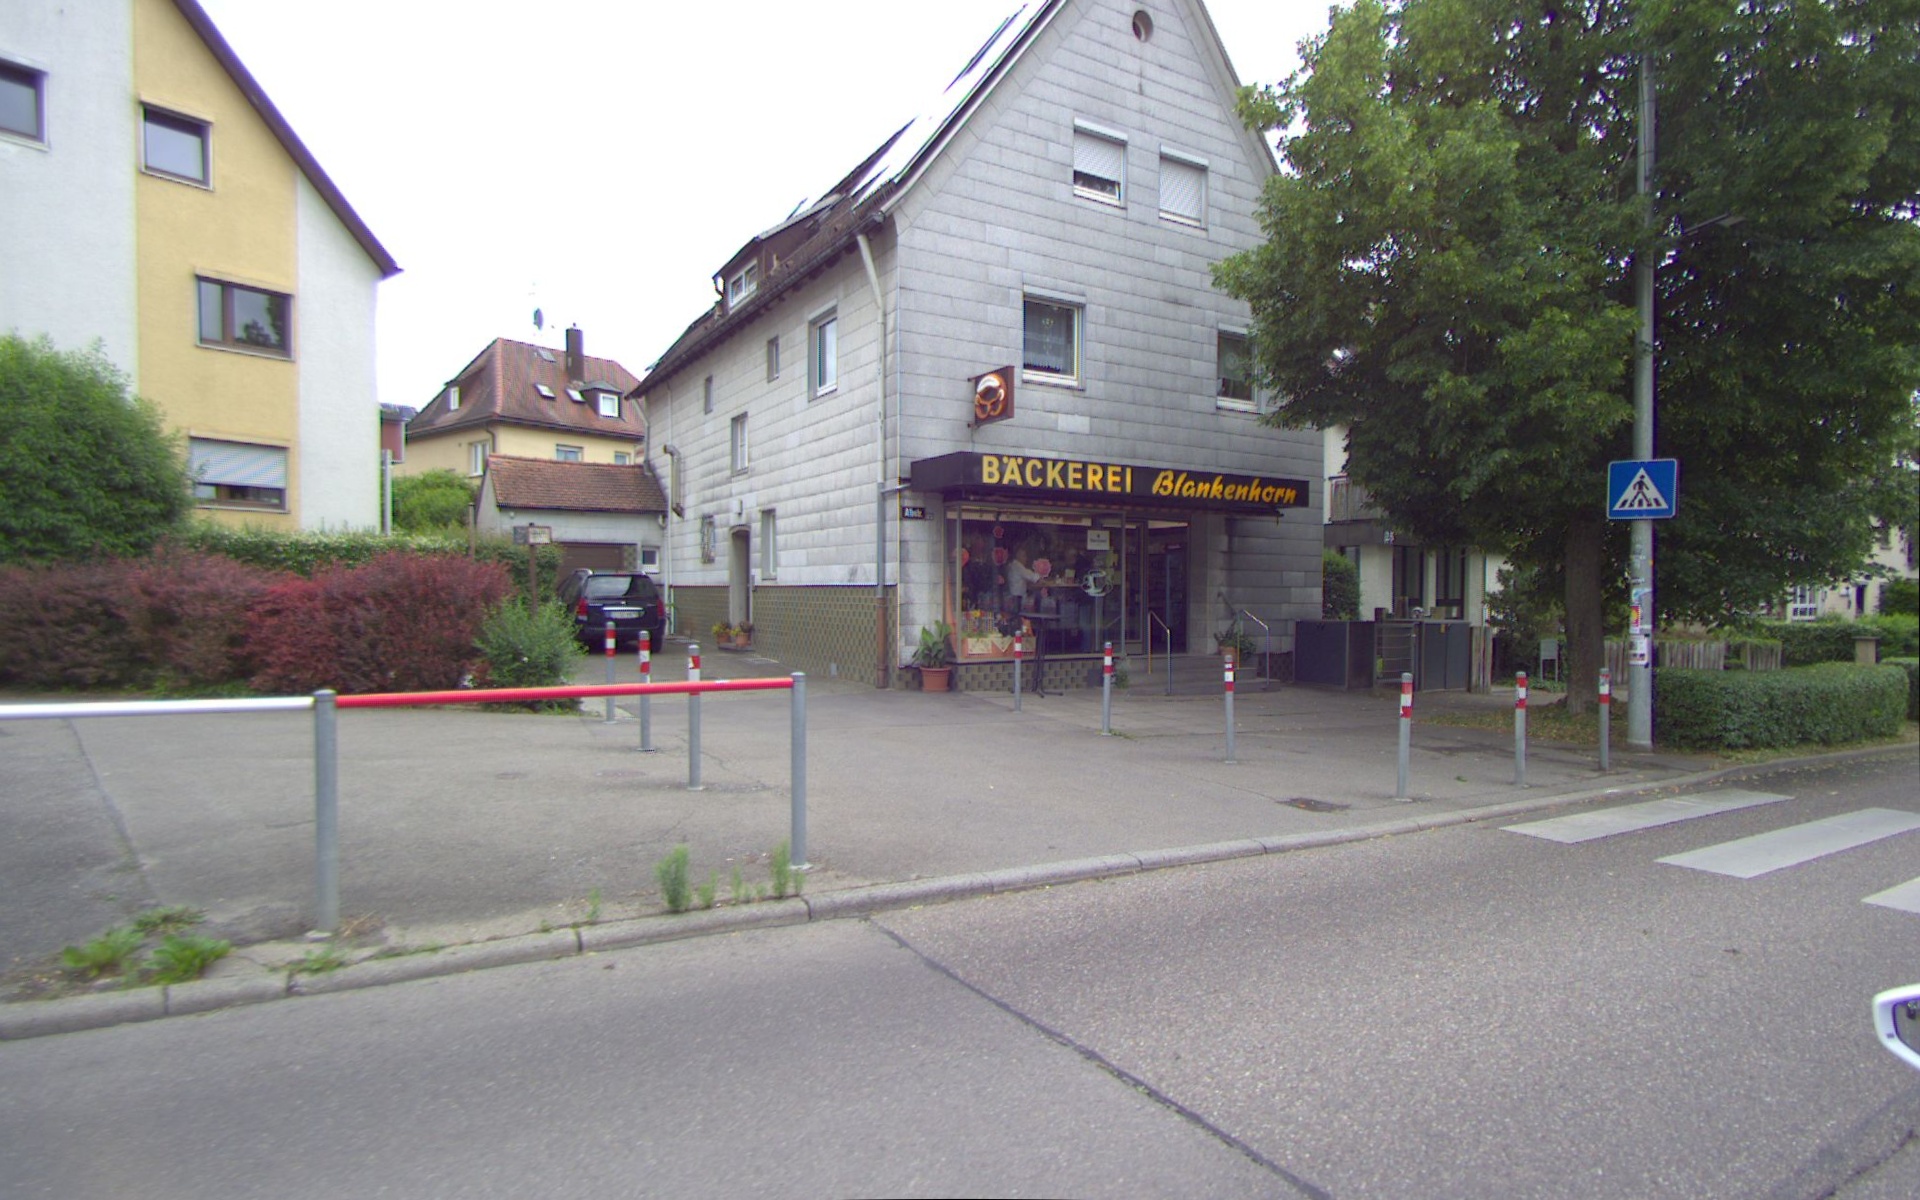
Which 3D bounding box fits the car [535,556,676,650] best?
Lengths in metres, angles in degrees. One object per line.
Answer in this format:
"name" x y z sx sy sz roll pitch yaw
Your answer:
"car" -7.119 0.003 19.972 1.825 1.580 3.661 1 3 -33
